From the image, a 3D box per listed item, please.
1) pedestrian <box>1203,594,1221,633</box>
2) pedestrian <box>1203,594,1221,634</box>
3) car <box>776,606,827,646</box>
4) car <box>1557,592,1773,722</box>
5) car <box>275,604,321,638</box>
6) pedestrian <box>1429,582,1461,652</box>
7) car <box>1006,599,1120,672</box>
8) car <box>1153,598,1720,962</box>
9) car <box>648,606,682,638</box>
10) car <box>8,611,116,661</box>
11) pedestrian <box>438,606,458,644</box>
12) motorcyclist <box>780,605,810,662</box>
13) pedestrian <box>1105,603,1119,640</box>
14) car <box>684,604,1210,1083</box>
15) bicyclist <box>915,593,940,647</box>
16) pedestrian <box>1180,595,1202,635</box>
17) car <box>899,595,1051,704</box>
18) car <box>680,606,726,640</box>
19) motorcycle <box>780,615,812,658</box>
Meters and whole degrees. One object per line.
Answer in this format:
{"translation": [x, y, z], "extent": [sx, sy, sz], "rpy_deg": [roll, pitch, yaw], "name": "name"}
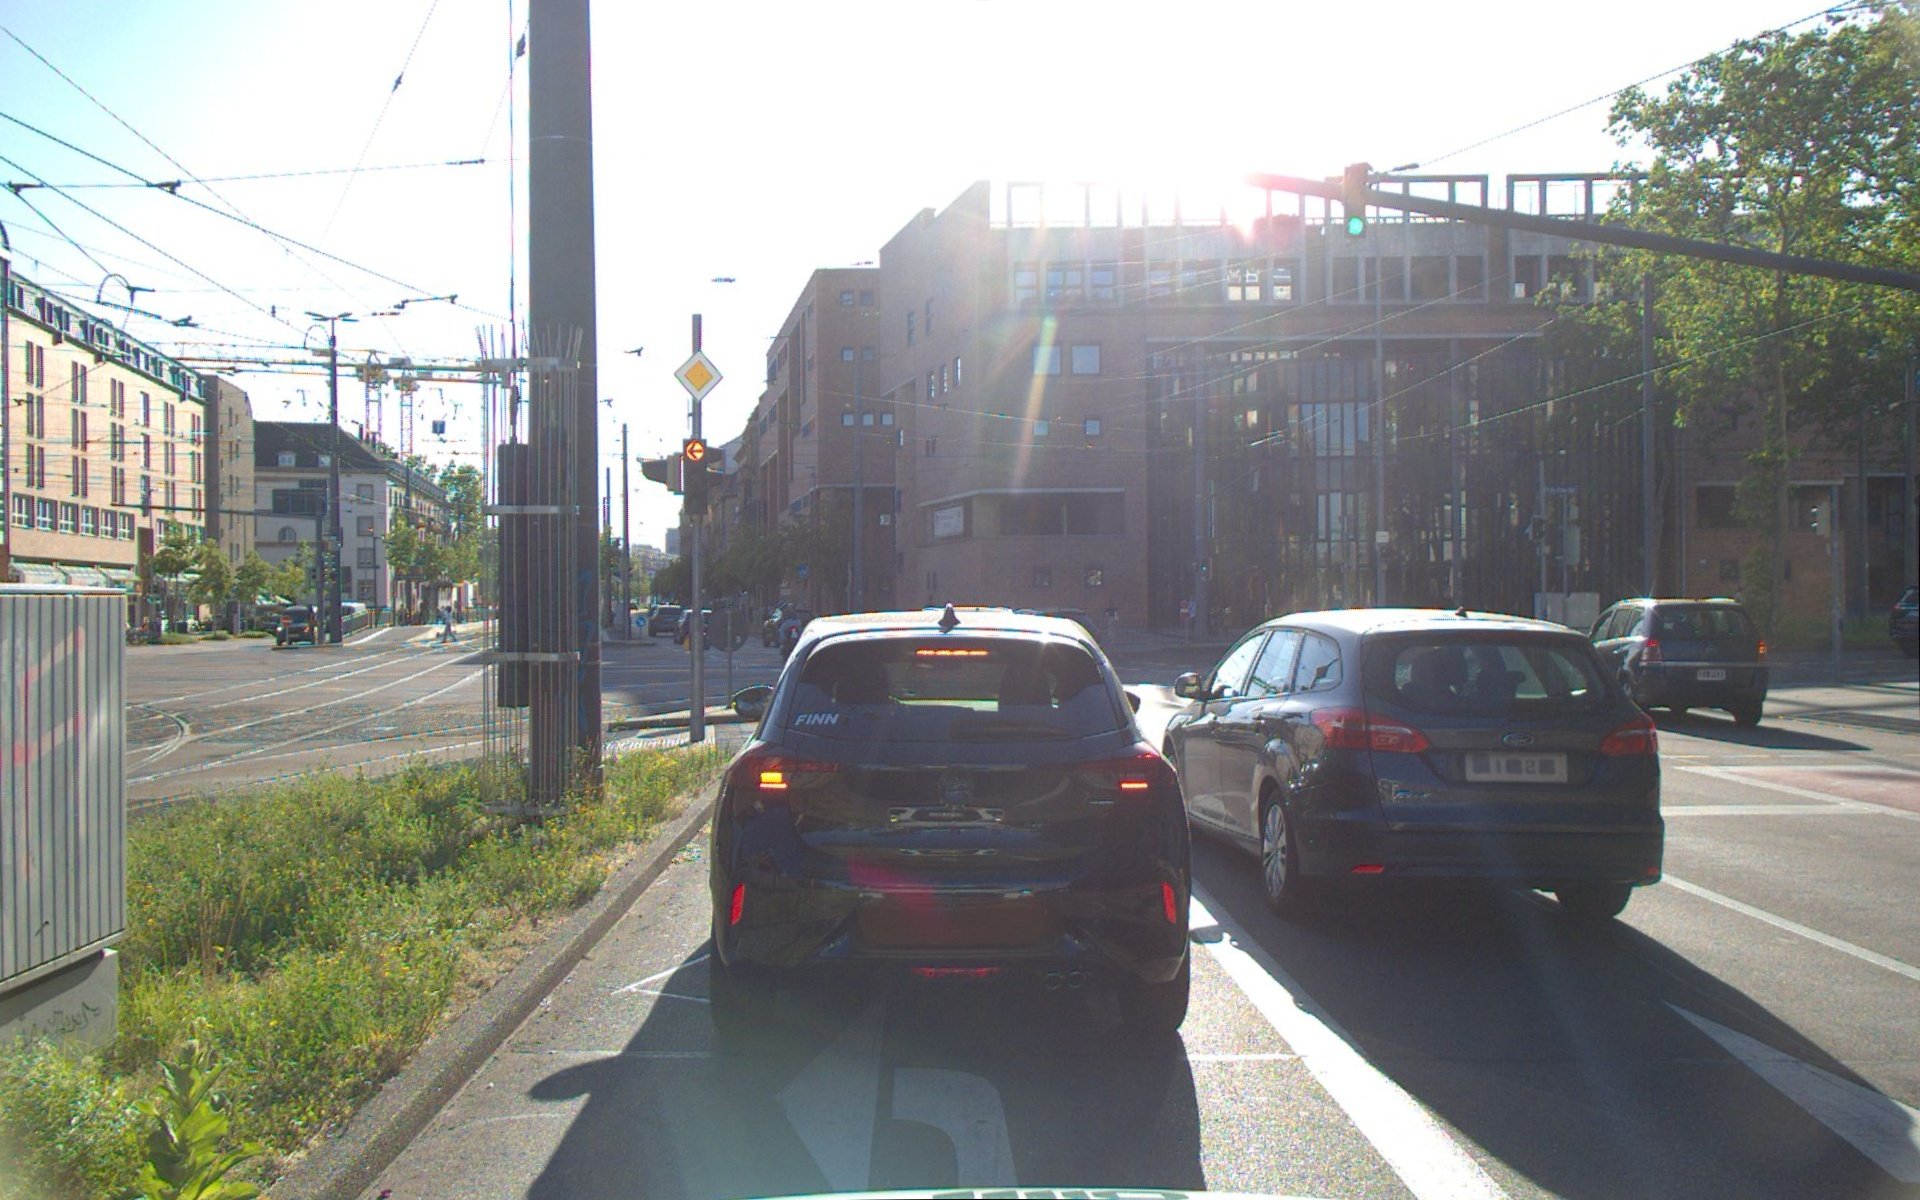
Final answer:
{"translation": [10.671, 0.572, 69.963], "extent": [0.722, 1.645, 0.561], "rpy_deg": [-1, 0, 8], "name": "pedestrian"}
{"translation": [10.537, 0.572, 69.066], "extent": [0.722, 1.645, 0.561], "rpy_deg": [-1, 0, 8], "name": "pedestrian"}
{"translation": [-6.298, 1.012, 65.331], "extent": [1.774, 1.483, 3.992], "rpy_deg": [1, 0, -9], "name": "car"}
{"translation": [9.815, 0.726, 23.390], "extent": [1.652, 1.657, 4.466], "rpy_deg": [0, 0, 7], "name": "car"}
{"translation": [-31.207, 0.989, 78.021], "extent": [1.717, 1.531, 3.861], "rpy_deg": [-1, 0, -18], "name": "car"}
{"translation": [12.470, 0.443, 42.498], "extent": [0.692, 1.789, 0.560], "rpy_deg": [-1, 0, 25], "name": "pedestrian"}
{"translation": [2.166, 0.725, 35.854], "extent": [1.773, 1.483, 3.994], "rpy_deg": [1, 0, -7], "name": "car"}
{"translation": [2.275, 0.752, 9.085], "extent": [1.652, 1.458, 4.150], "rpy_deg": [-1, 1, -4], "name": "car"}
{"translation": [-15.898, 1.176, 89.037], "extent": [1.706, 1.680, 3.988], "rpy_deg": [0, 0, -12], "name": "car"}
{"translation": [-28.549, 1.123, 52.712], "extent": [1.542, 1.474, 3.996], "rpy_deg": [-1, 0, -5], "name": "car"}
{"translation": [-22.814, 1.121, 73.761], "extent": [0.751, 1.669, 0.742], "rpy_deg": [-1, 0, -10], "name": "pedestrian"}
{"translation": [-4.589, 0.934, 46.047], "extent": [0.731, 1.557, 1.018], "rpy_deg": [-1, 0, -10], "name": "motorcyclist"}
{"translation": [6.081, 0.854, 66.172], "extent": [0.519, 1.455, 0.598], "rpy_deg": [-1, 0, -1], "name": "pedestrian"}
{"translation": [-0.025, 0.756, 7.116], "extent": [1.615, 1.458, 4.000], "rpy_deg": [0, 0, 0], "name": "car"}
{"translation": [-1.098, 0.680, 56.349], "extent": [0.569, 1.822, 0.858], "rpy_deg": [-1, 0, -22], "name": "bicyclist"}
{"translation": [9.522, 0.602, 68.195], "extent": [0.881, 1.645, 0.561], "rpy_deg": [-1, 0, 8], "name": "pedestrian"}
{"translation": [0.137, 0.715, 25.912], "extent": [1.777, 1.518, 4.489], "rpy_deg": [2, 0, -7], "name": "car"}
{"translation": [-10.941, 0.952, 70.208], "extent": [1.707, 1.373, 3.988], "rpy_deg": [0, 0, -12], "name": "car"}
{"translation": [-4.569, 1.013, 45.981], "extent": [0.761, 1.135, 1.965], "rpy_deg": [-1, 0, -9], "name": "motorcycle"}
